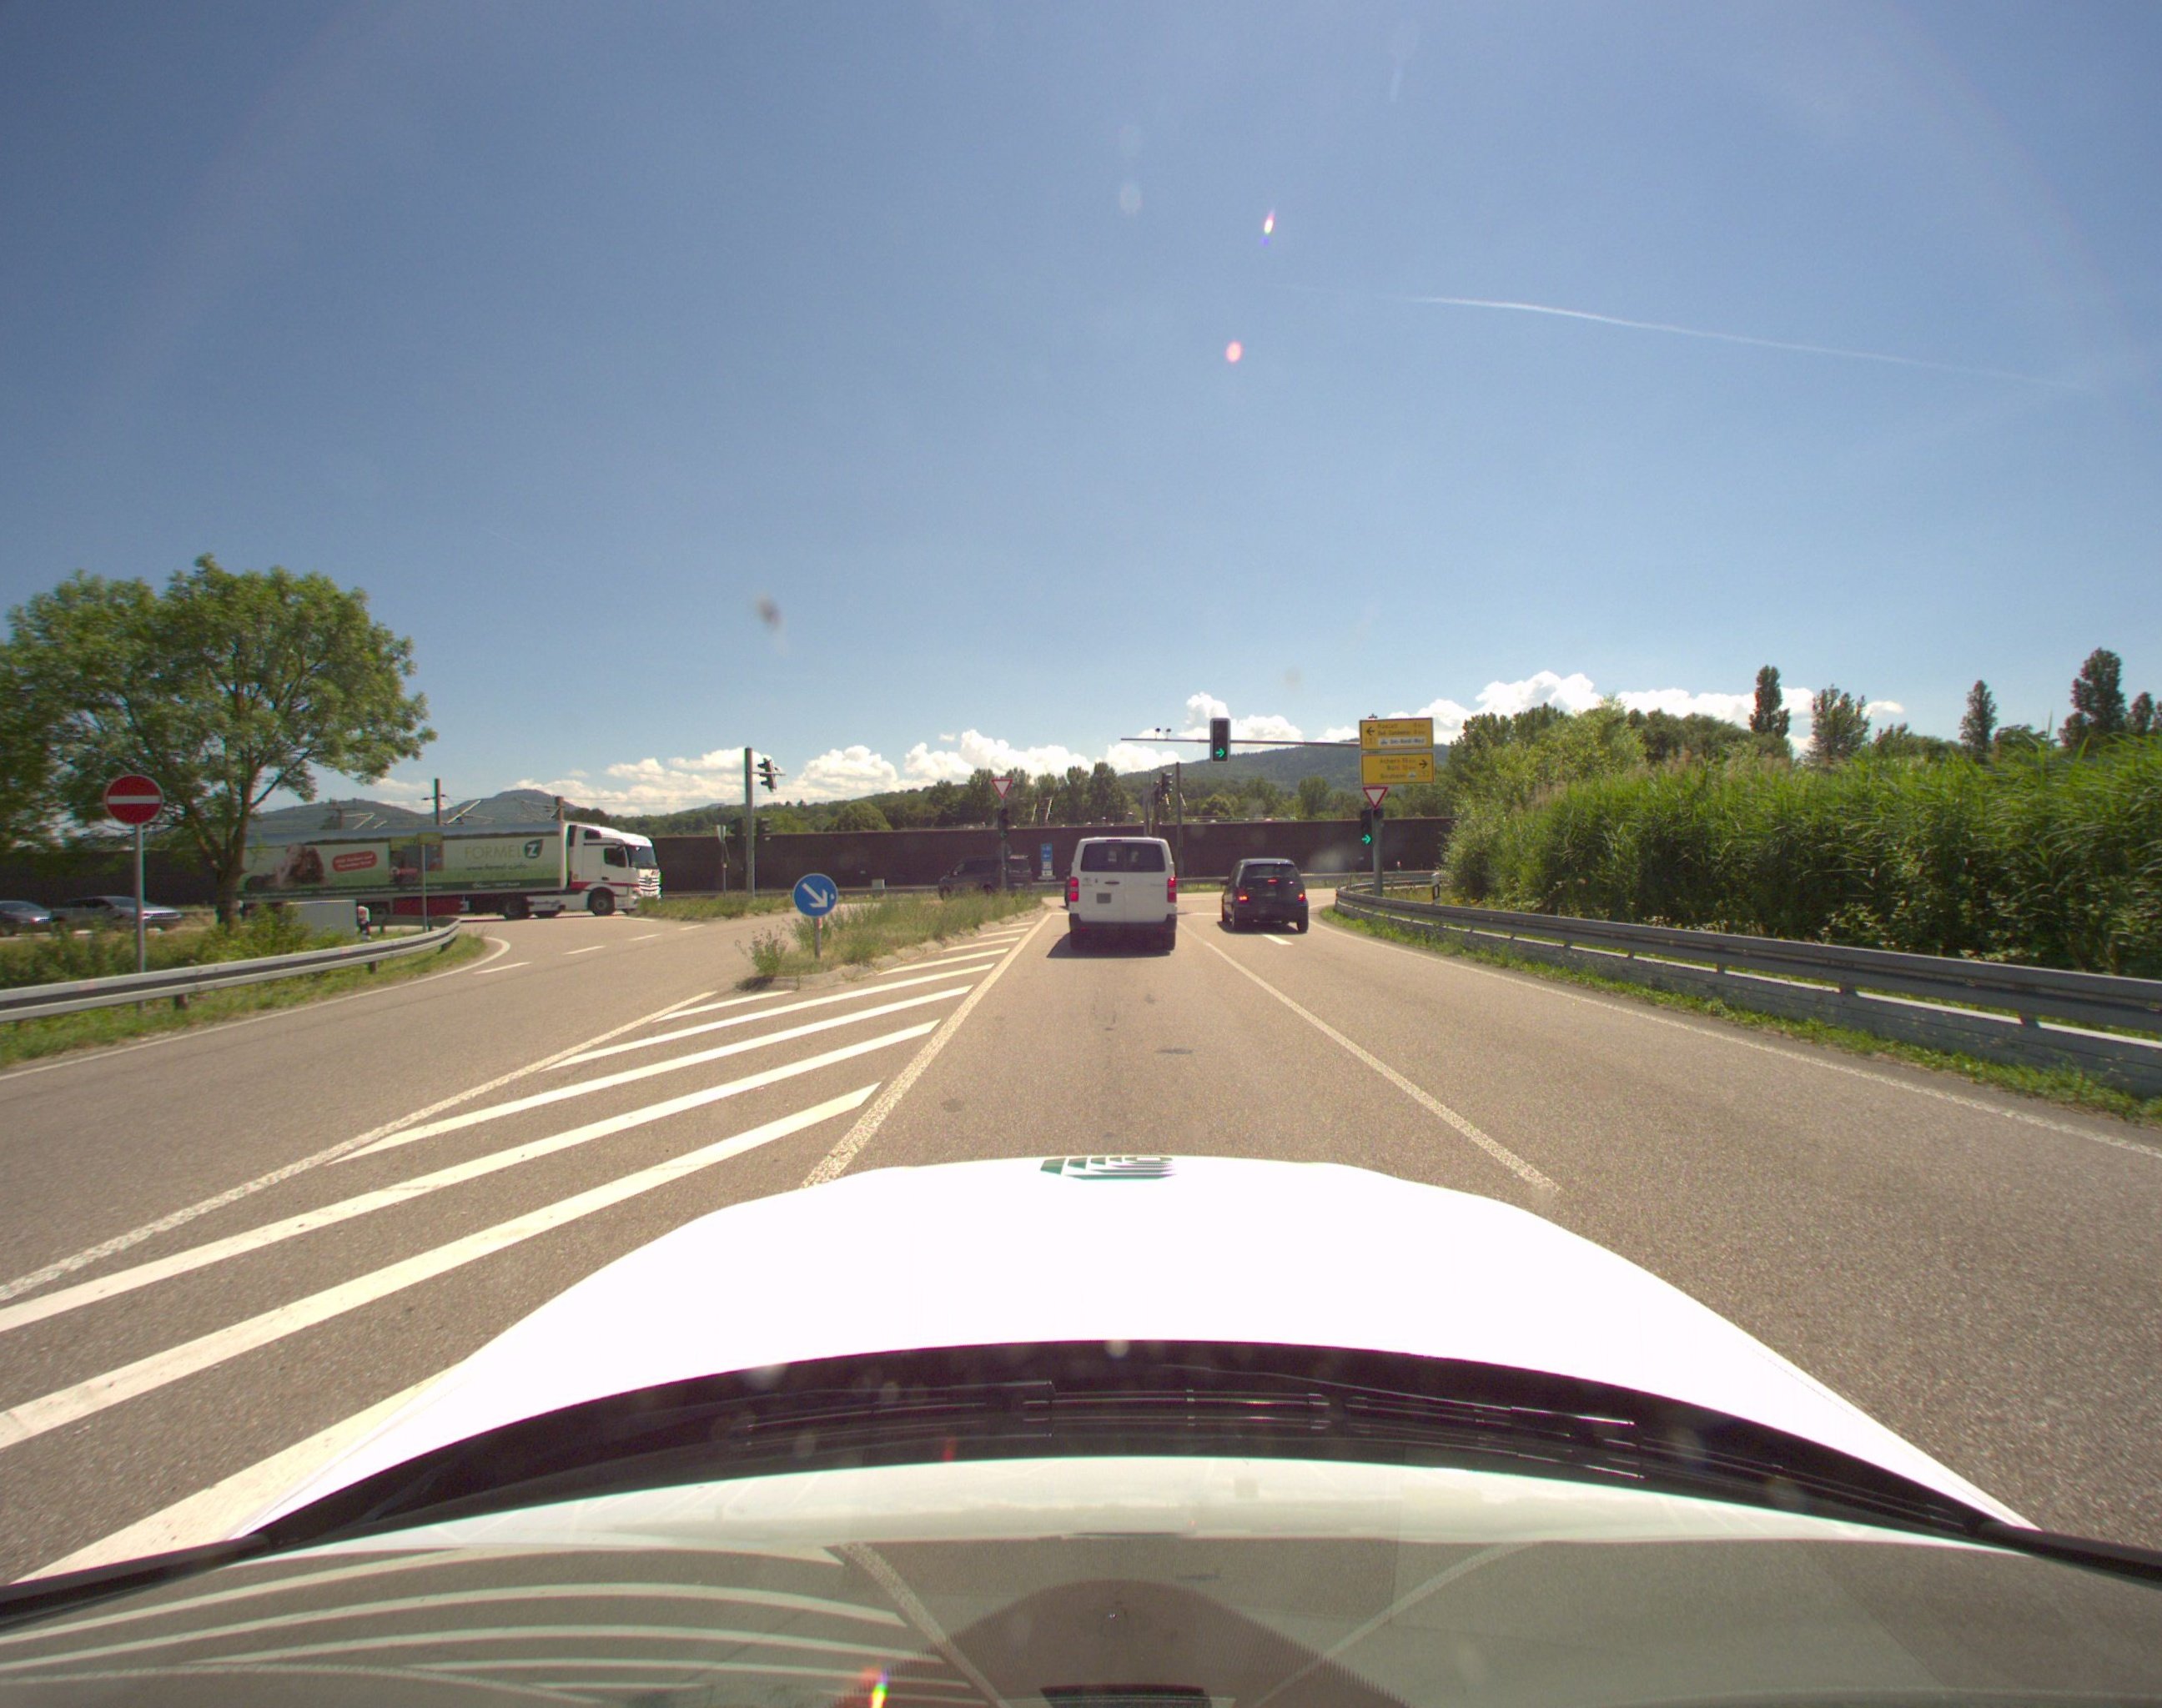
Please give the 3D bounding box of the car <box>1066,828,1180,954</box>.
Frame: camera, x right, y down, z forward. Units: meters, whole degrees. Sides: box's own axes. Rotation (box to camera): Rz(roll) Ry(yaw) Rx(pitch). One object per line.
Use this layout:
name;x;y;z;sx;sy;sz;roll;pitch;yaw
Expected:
car;0.736;0.619;15.249;1.808;2.018;4.001;-1;-1;1

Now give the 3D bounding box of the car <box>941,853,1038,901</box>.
car;-4.180;1.027;36.573;2.011;2.014;4.656;0;-1;-41

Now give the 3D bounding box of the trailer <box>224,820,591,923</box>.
trailer;-28.575;0.733;34.974;13.099;3.954;3.061;-1;-1;-1

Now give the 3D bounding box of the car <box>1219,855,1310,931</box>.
car;4.241;0.850;19.263;1.660;1.600;3.559;0;-1;5

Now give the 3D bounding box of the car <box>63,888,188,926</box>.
car;-40.755;2.248;34.800;3.462;1.464;1.554;-1;-1;0

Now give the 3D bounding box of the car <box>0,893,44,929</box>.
car;-46.915;2.455;34.664;3.462;1.464;1.554;-1;-1;0

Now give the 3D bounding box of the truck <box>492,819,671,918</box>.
truck;-21.317;0.595;35.048;5.747;3.954;3.061;-1;-1;0
